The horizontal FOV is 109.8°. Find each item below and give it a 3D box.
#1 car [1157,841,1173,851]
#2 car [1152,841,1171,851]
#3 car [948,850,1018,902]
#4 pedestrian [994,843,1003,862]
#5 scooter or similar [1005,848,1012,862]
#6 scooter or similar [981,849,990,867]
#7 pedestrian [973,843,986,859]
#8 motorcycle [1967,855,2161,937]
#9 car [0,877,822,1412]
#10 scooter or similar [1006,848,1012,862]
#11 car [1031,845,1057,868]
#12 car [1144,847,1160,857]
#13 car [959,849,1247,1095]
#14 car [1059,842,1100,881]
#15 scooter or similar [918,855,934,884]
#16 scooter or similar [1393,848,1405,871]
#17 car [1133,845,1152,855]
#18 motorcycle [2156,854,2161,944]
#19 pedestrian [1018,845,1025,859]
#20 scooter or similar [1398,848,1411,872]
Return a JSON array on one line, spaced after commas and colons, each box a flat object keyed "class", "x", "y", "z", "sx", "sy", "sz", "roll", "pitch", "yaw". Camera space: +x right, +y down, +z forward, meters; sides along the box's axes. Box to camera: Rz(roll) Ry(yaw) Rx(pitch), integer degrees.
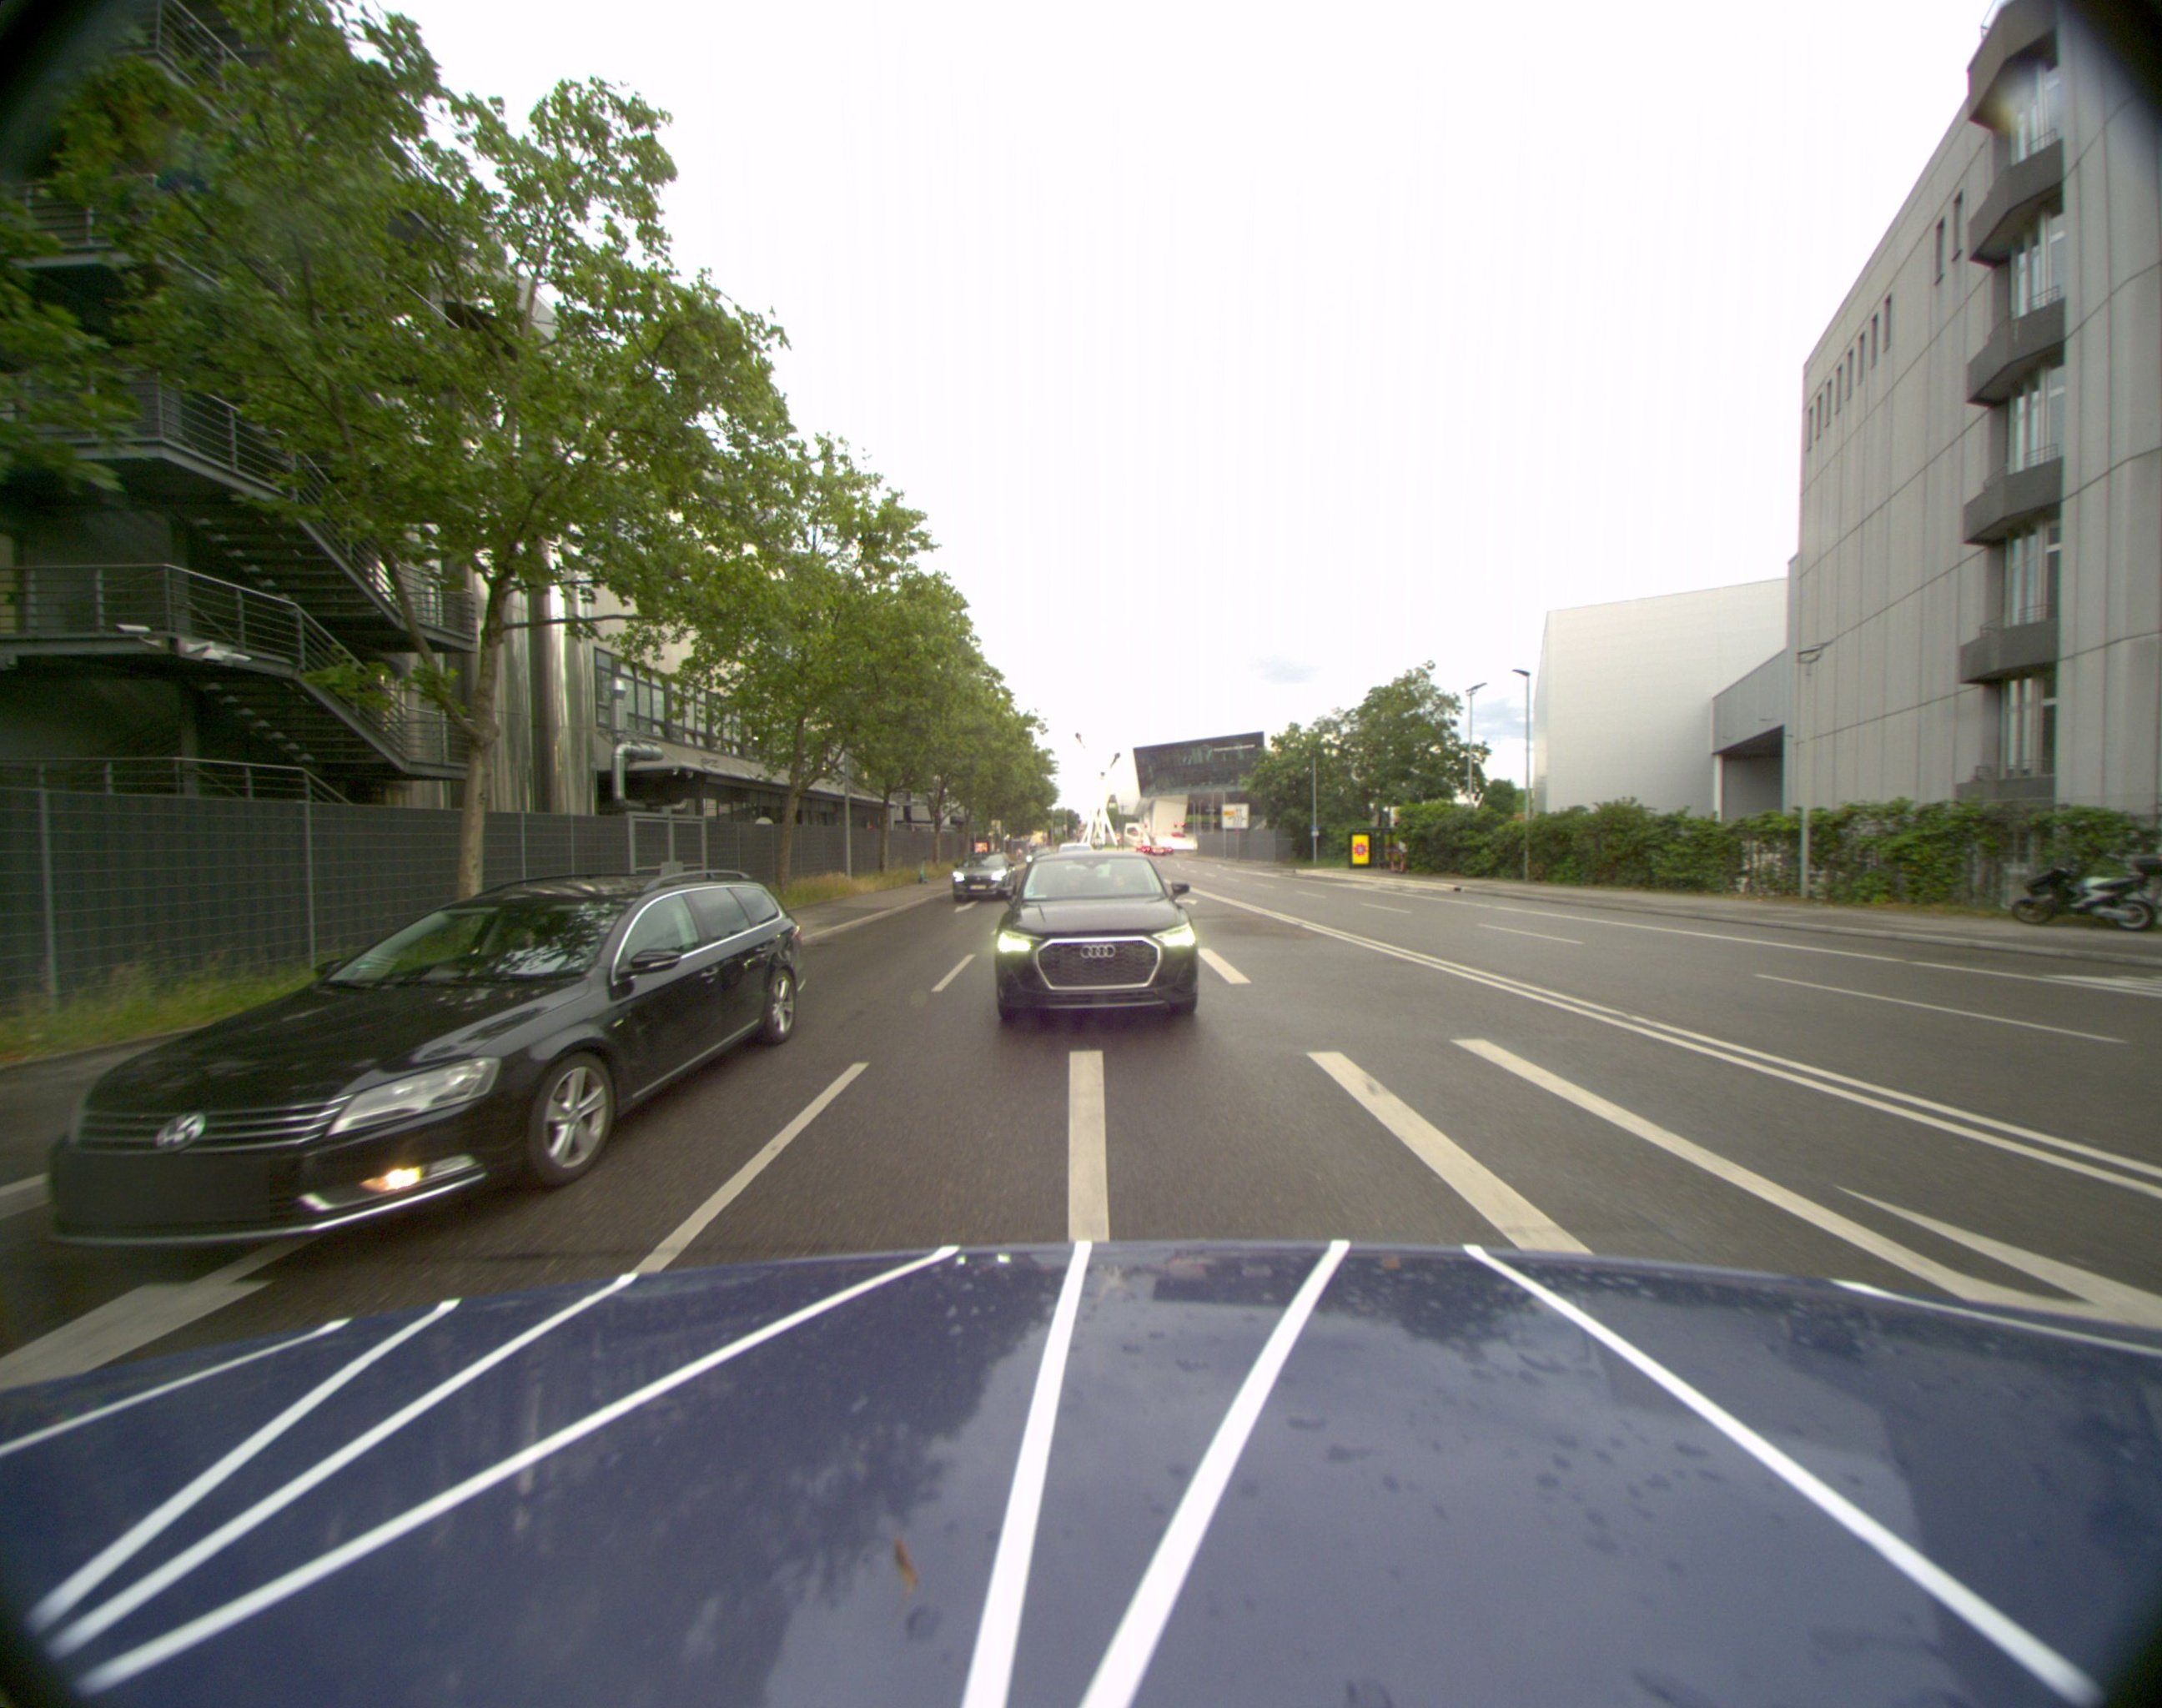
[{"class": "car", "x": 14.329, "y": -1.396, "z": 128.858, "sx": 1.861, "sy": 1.641, "sz": 3.792, "roll": 0, "pitch": 1, "yaw": 19}, {"class": "car", "x": 12.966, "y": -1.289, "z": 122.032, "sx": 2.267, "sy": 1.469, "sz": 4.052, "roll": 0, "pitch": 1, "yaw": 18}, {"class": "car", "x": -3.252, "y": 0.680, "z": 25.874, "sx": 1.951, "sy": 1.610, "sz": 4.072, "roll": 0, "pitch": 1, "yaw": -1}, {"class": "pedestrian", "x": -7.476, "y": -0.113, "z": 68.856, "sx": 0.778, "sy": 1.700, "sz": 0.729, "roll": -1, "pitch": 2, "yaw": -1}, {"class": "scooter or similar", "x": -6.966, "y": 0.108, "z": 72.690, "sx": 0.437, "sy": 1.288, "sz": 1.300, "roll": -1, "pitch": 1, "yaw": 3}, {"class": "scooter or similar", "x": -7.025, "y": 0.260, "z": 55.921, "sx": 0.329, "sy": 1.301, "sz": 1.246, "roll": -1, "pitch": 1, "yaw": 4}, {"class": "pedestrian", "x": -8.667, "y": -0.254, "z": 64.880, "sx": 0.933, "sy": 1.408, "sz": 0.698, "roll": -1, "pitch": 2, "yaw": -1}, {"class": "motorcycle", "x": 16.813, "y": 0.665, "z": 12.995, "sx": 0.786, "sy": 1.243, "sz": 2.157, "roll": -1, "pitch": 1, "yaw": 0}, {"class": "car", "x": -3.341, "y": 0.996, "z": 4.761, "sx": 1.842, "sy": 1.444, "sz": 4.784, "roll": -2, "pitch": 1, "yaw": -1}, {"class": "scooter or similar", "x": -7.067, "y": 0.079, "z": 74.801, "sx": 0.437, "sy": 1.288, "sz": 1.300, "roll": -1, "pitch": 1, "yaw": 3}, {"class": "car", "x": -2.929, "y": 0.170, "z": 60.263, "sx": 1.951, "sy": 1.767, "sz": 4.490, "roll": 0, "pitch": 1, "yaw": -1}, {"class": "car", "x": 12.163, "y": -0.326, "z": 130.102, "sx": 1.878, "sy": 1.641, "sz": 3.856, "roll": 0, "pitch": 1, "yaw": 16}, {"class": "car", "x": 0.098, "y": 0.805, "z": 7.925, "sx": 1.951, "sy": 1.610, "sz": 5.275, "roll": -2, "pitch": 1, "yaw": -1}, {"class": "car", "x": -0.129, "y": 0.351, "z": 38.710, "sx": 1.951, "sy": 1.879, "sz": 4.490, "roll": 0, "pitch": 1, "yaw": -1}, {"class": "scooter or similar", "x": -6.935, "y": 0.688, "z": 34.055, "sx": 0.329, "sy": 1.262, "sz": 1.109, "roll": -1, "pitch": 1, "yaw": 9}, {"class": "scooter or similar", "x": 16.557, "y": 0.282, "z": 39.585, "sx": 0.389, "sy": 1.174, "sz": 1.251, "roll": 0, "pitch": 1, "yaw": 13}, {"class": "car", "x": 10.090, "y": -0.686, "z": 123.751, "sx": 2.255, "sy": 1.469, "sz": 3.883, "roll": 0, "pitch": 1, "yaw": 18}, {"class": "motorcycle", "x": 16.430, "y": 0.680, "z": 10.142, "sx": 0.786, "sy": 1.340, "sz": 2.369, "roll": -1, "pitch": 1, "yaw": 0}, {"class": "pedestrian", "x": -6.815, "y": -0.241, "z": 87.467, "sx": 0.723, "sy": 1.610, "sz": 0.833, "roll": 1, "pitch": 2, "yaw": -1}, {"class": "scooter or similar", "x": 16.275, "y": 0.299, "z": 38.188, "sx": 0.379, "sy": 1.174, "sz": 1.378, "roll": 0, "pitch": 1, "yaw": 13}]
